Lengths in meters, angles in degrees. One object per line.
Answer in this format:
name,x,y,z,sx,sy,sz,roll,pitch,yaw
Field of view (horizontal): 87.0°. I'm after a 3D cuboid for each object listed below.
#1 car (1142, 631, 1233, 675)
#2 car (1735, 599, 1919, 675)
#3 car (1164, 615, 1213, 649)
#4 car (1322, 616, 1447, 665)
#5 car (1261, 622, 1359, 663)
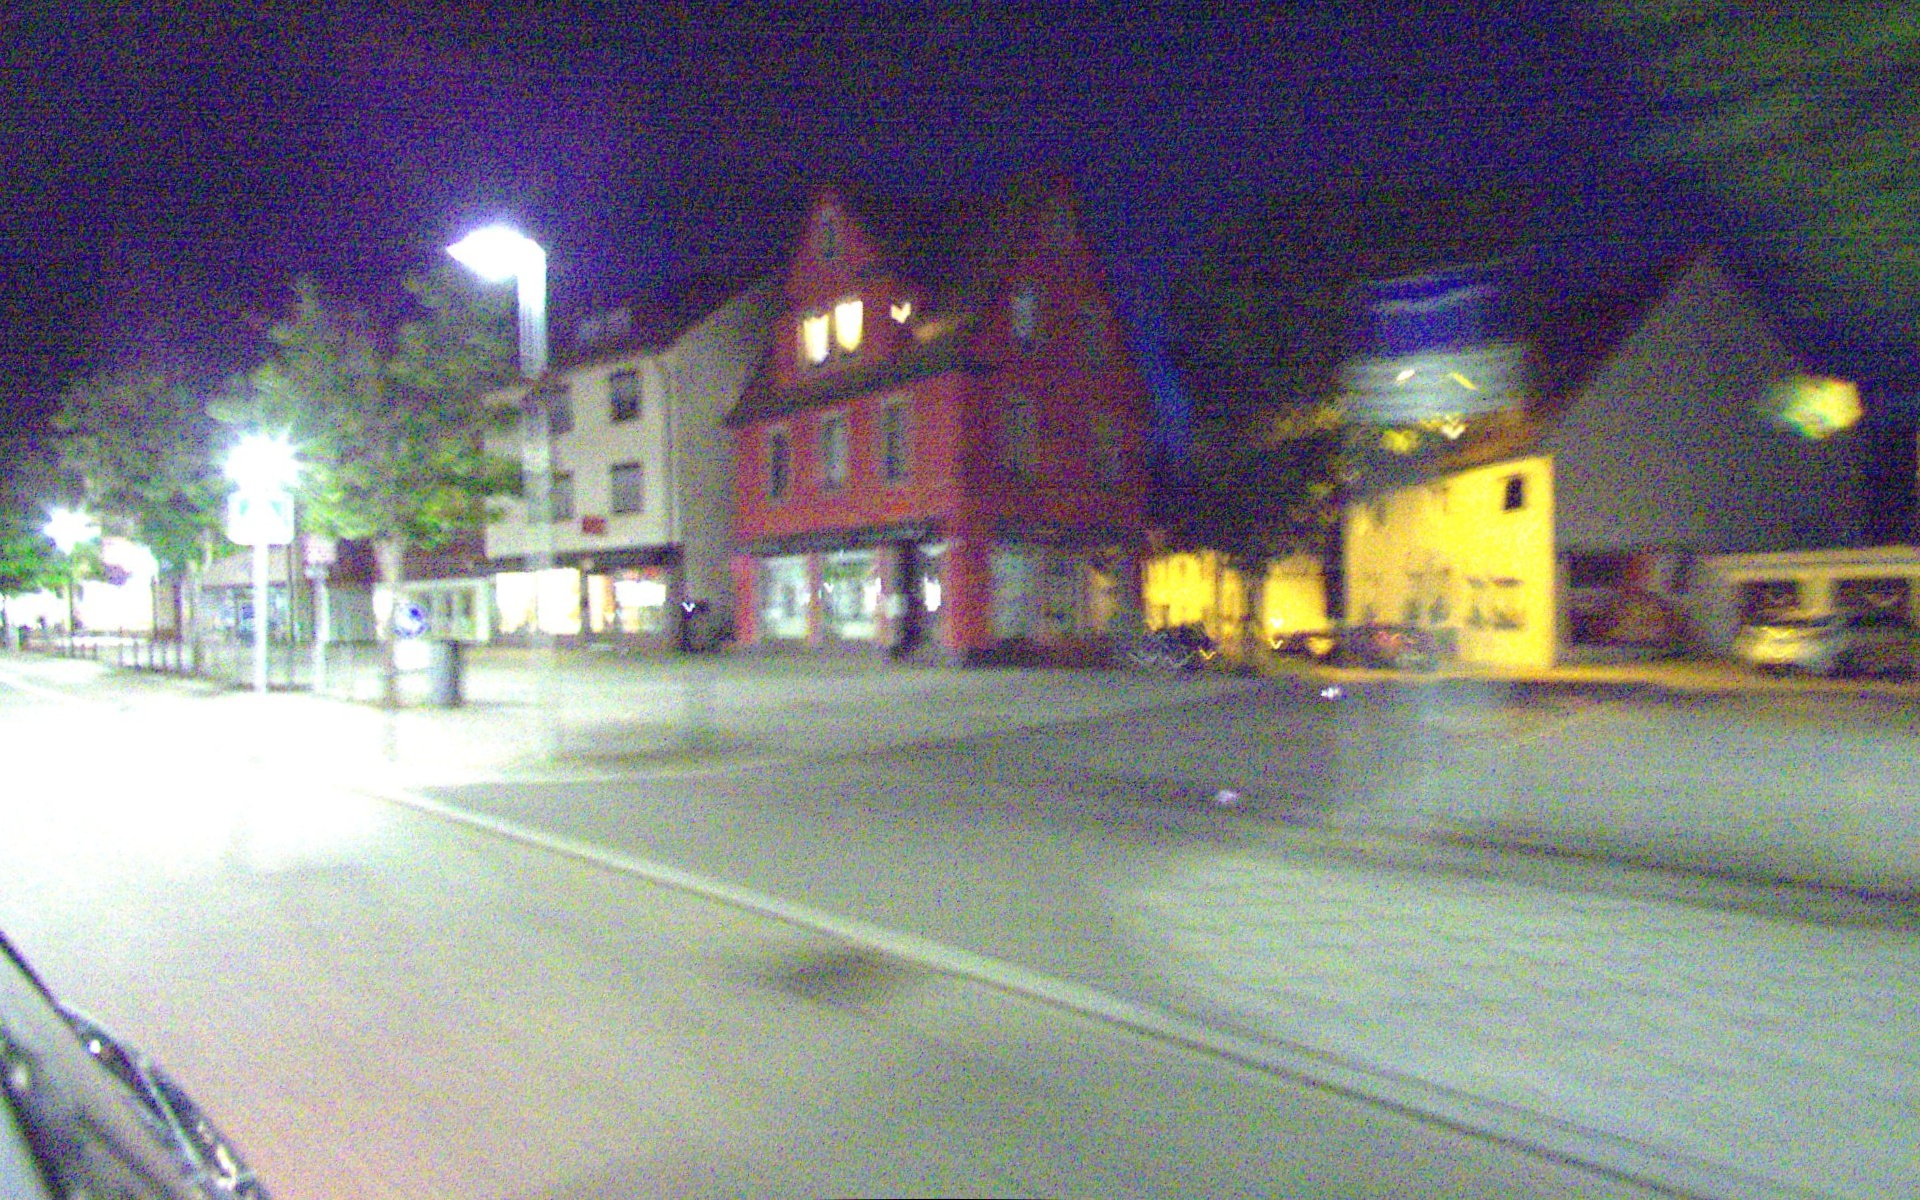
car,7.460,1.727,33.595,1.793,1.386,4.004,0,-2,-5
car,18.703,0.746,20.948,3.938,1.453,1.923,-1,-2,-6
car,11.449,1.580,50.869,1.553,1.580,3.422,0,0,-3
car,12.734,1.222,30.623,1.793,1.386,4.004,0,-2,-5
car,12.390,1.511,36.098,1.793,1.386,4.004,0,-2,-5
